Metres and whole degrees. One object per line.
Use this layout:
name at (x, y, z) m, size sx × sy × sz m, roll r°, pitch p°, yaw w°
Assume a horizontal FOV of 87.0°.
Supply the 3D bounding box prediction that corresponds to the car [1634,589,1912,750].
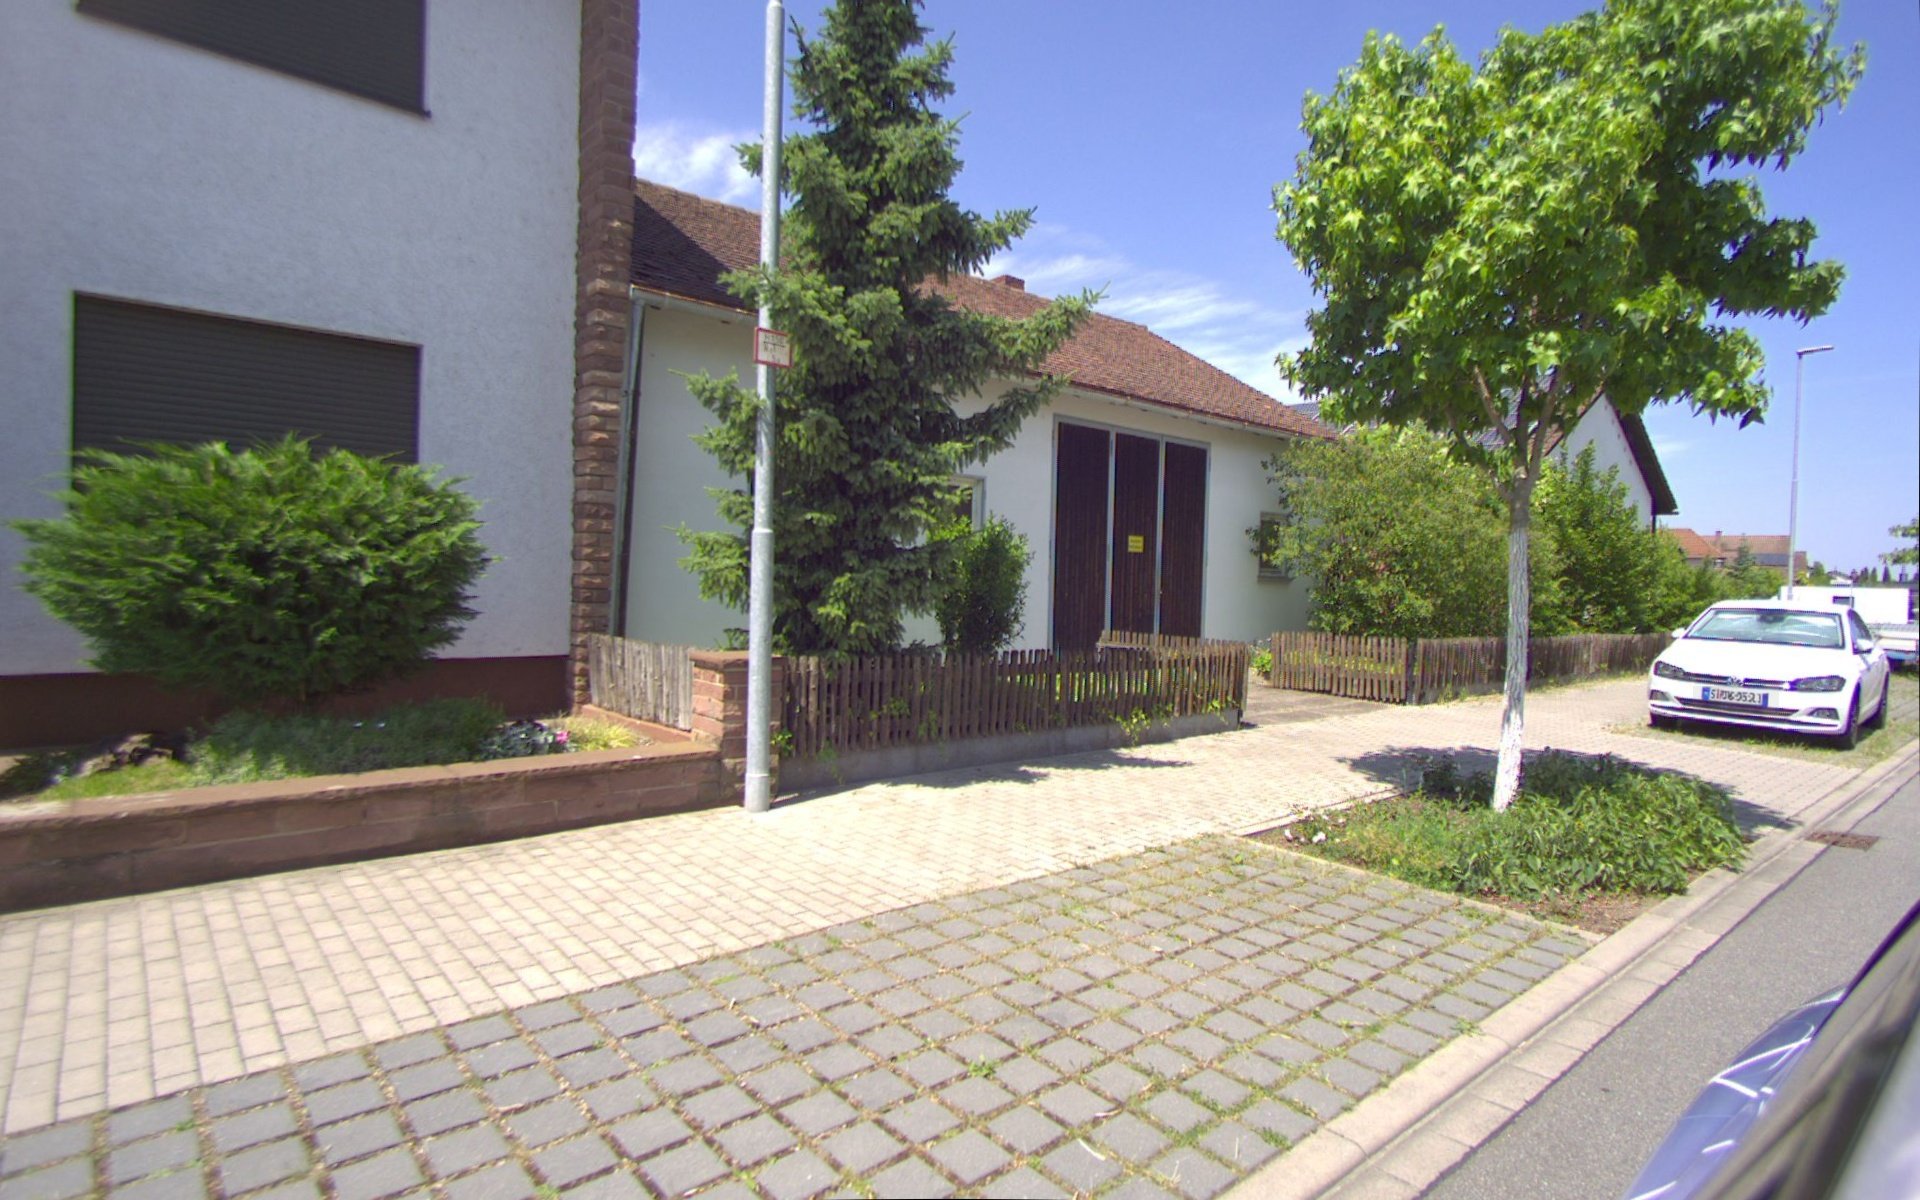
car at (9.227, 0.651, 11.385) m, size 3.801 × 1.437 × 1.817 m, roll 1°, pitch 2°, yaw -42°

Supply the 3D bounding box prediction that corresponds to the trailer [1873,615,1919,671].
trailer at (20.275, 0.897, 20.836) m, size 2.847 × 1.071 × 1.792 m, roll 1°, pitch 2°, yaw -40°
